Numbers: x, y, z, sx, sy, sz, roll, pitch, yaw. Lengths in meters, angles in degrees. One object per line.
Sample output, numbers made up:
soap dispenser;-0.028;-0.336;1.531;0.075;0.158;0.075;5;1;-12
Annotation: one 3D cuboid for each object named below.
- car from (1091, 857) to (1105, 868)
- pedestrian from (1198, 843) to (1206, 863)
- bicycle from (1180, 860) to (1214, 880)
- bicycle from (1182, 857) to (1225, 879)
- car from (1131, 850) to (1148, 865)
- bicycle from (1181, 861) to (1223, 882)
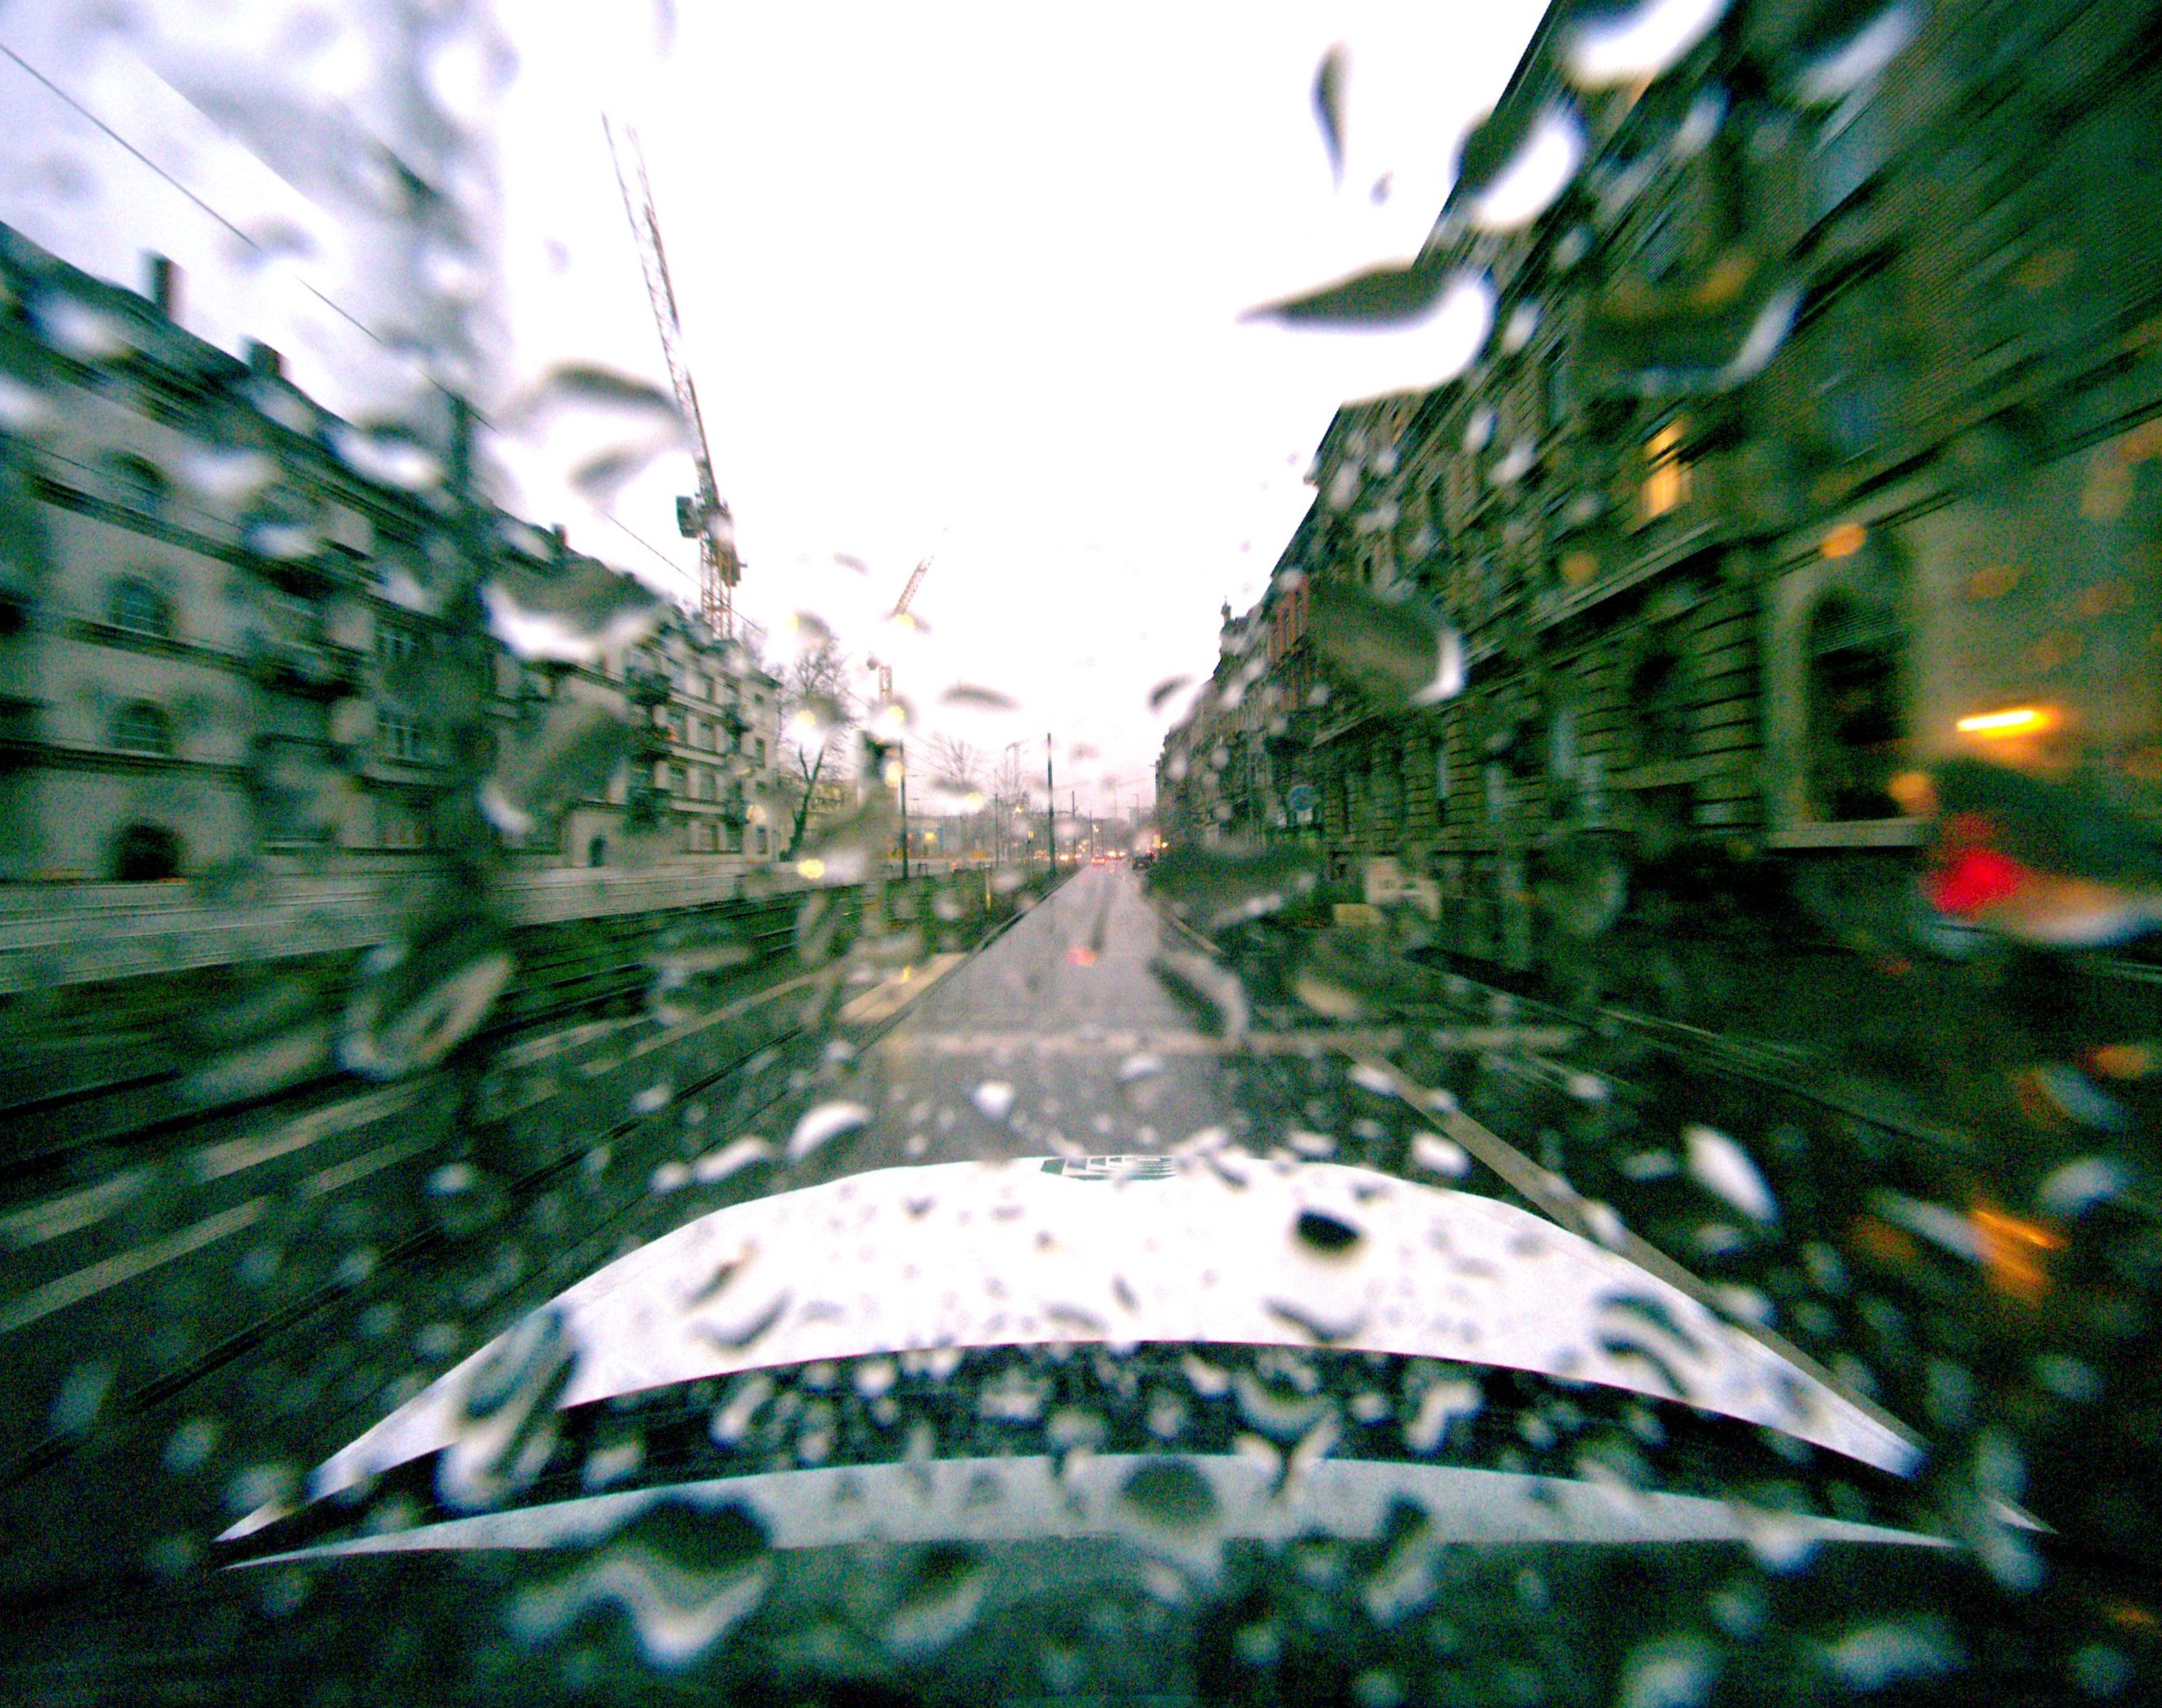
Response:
car;2.339;1.178;112.260;1.777;1.467;3.151;-2;0;3
pedestrian;10.851;-0.124;73.048;0.600;1.785;0.528;-2;0;1
bicycle;6.708;0.921;47.176;1.846;1.058;0.471;-2;0;-2
bicycle;6.540;0.750;43.519;2.143;1.057;0.525;-2;0;-5
car;6.481;0.345;90.057;1.791;1.604;3.773;-2;0;4
bicycle;6.637;0.949;44.742;2.242;1.057;0.525;-2;0;-1
